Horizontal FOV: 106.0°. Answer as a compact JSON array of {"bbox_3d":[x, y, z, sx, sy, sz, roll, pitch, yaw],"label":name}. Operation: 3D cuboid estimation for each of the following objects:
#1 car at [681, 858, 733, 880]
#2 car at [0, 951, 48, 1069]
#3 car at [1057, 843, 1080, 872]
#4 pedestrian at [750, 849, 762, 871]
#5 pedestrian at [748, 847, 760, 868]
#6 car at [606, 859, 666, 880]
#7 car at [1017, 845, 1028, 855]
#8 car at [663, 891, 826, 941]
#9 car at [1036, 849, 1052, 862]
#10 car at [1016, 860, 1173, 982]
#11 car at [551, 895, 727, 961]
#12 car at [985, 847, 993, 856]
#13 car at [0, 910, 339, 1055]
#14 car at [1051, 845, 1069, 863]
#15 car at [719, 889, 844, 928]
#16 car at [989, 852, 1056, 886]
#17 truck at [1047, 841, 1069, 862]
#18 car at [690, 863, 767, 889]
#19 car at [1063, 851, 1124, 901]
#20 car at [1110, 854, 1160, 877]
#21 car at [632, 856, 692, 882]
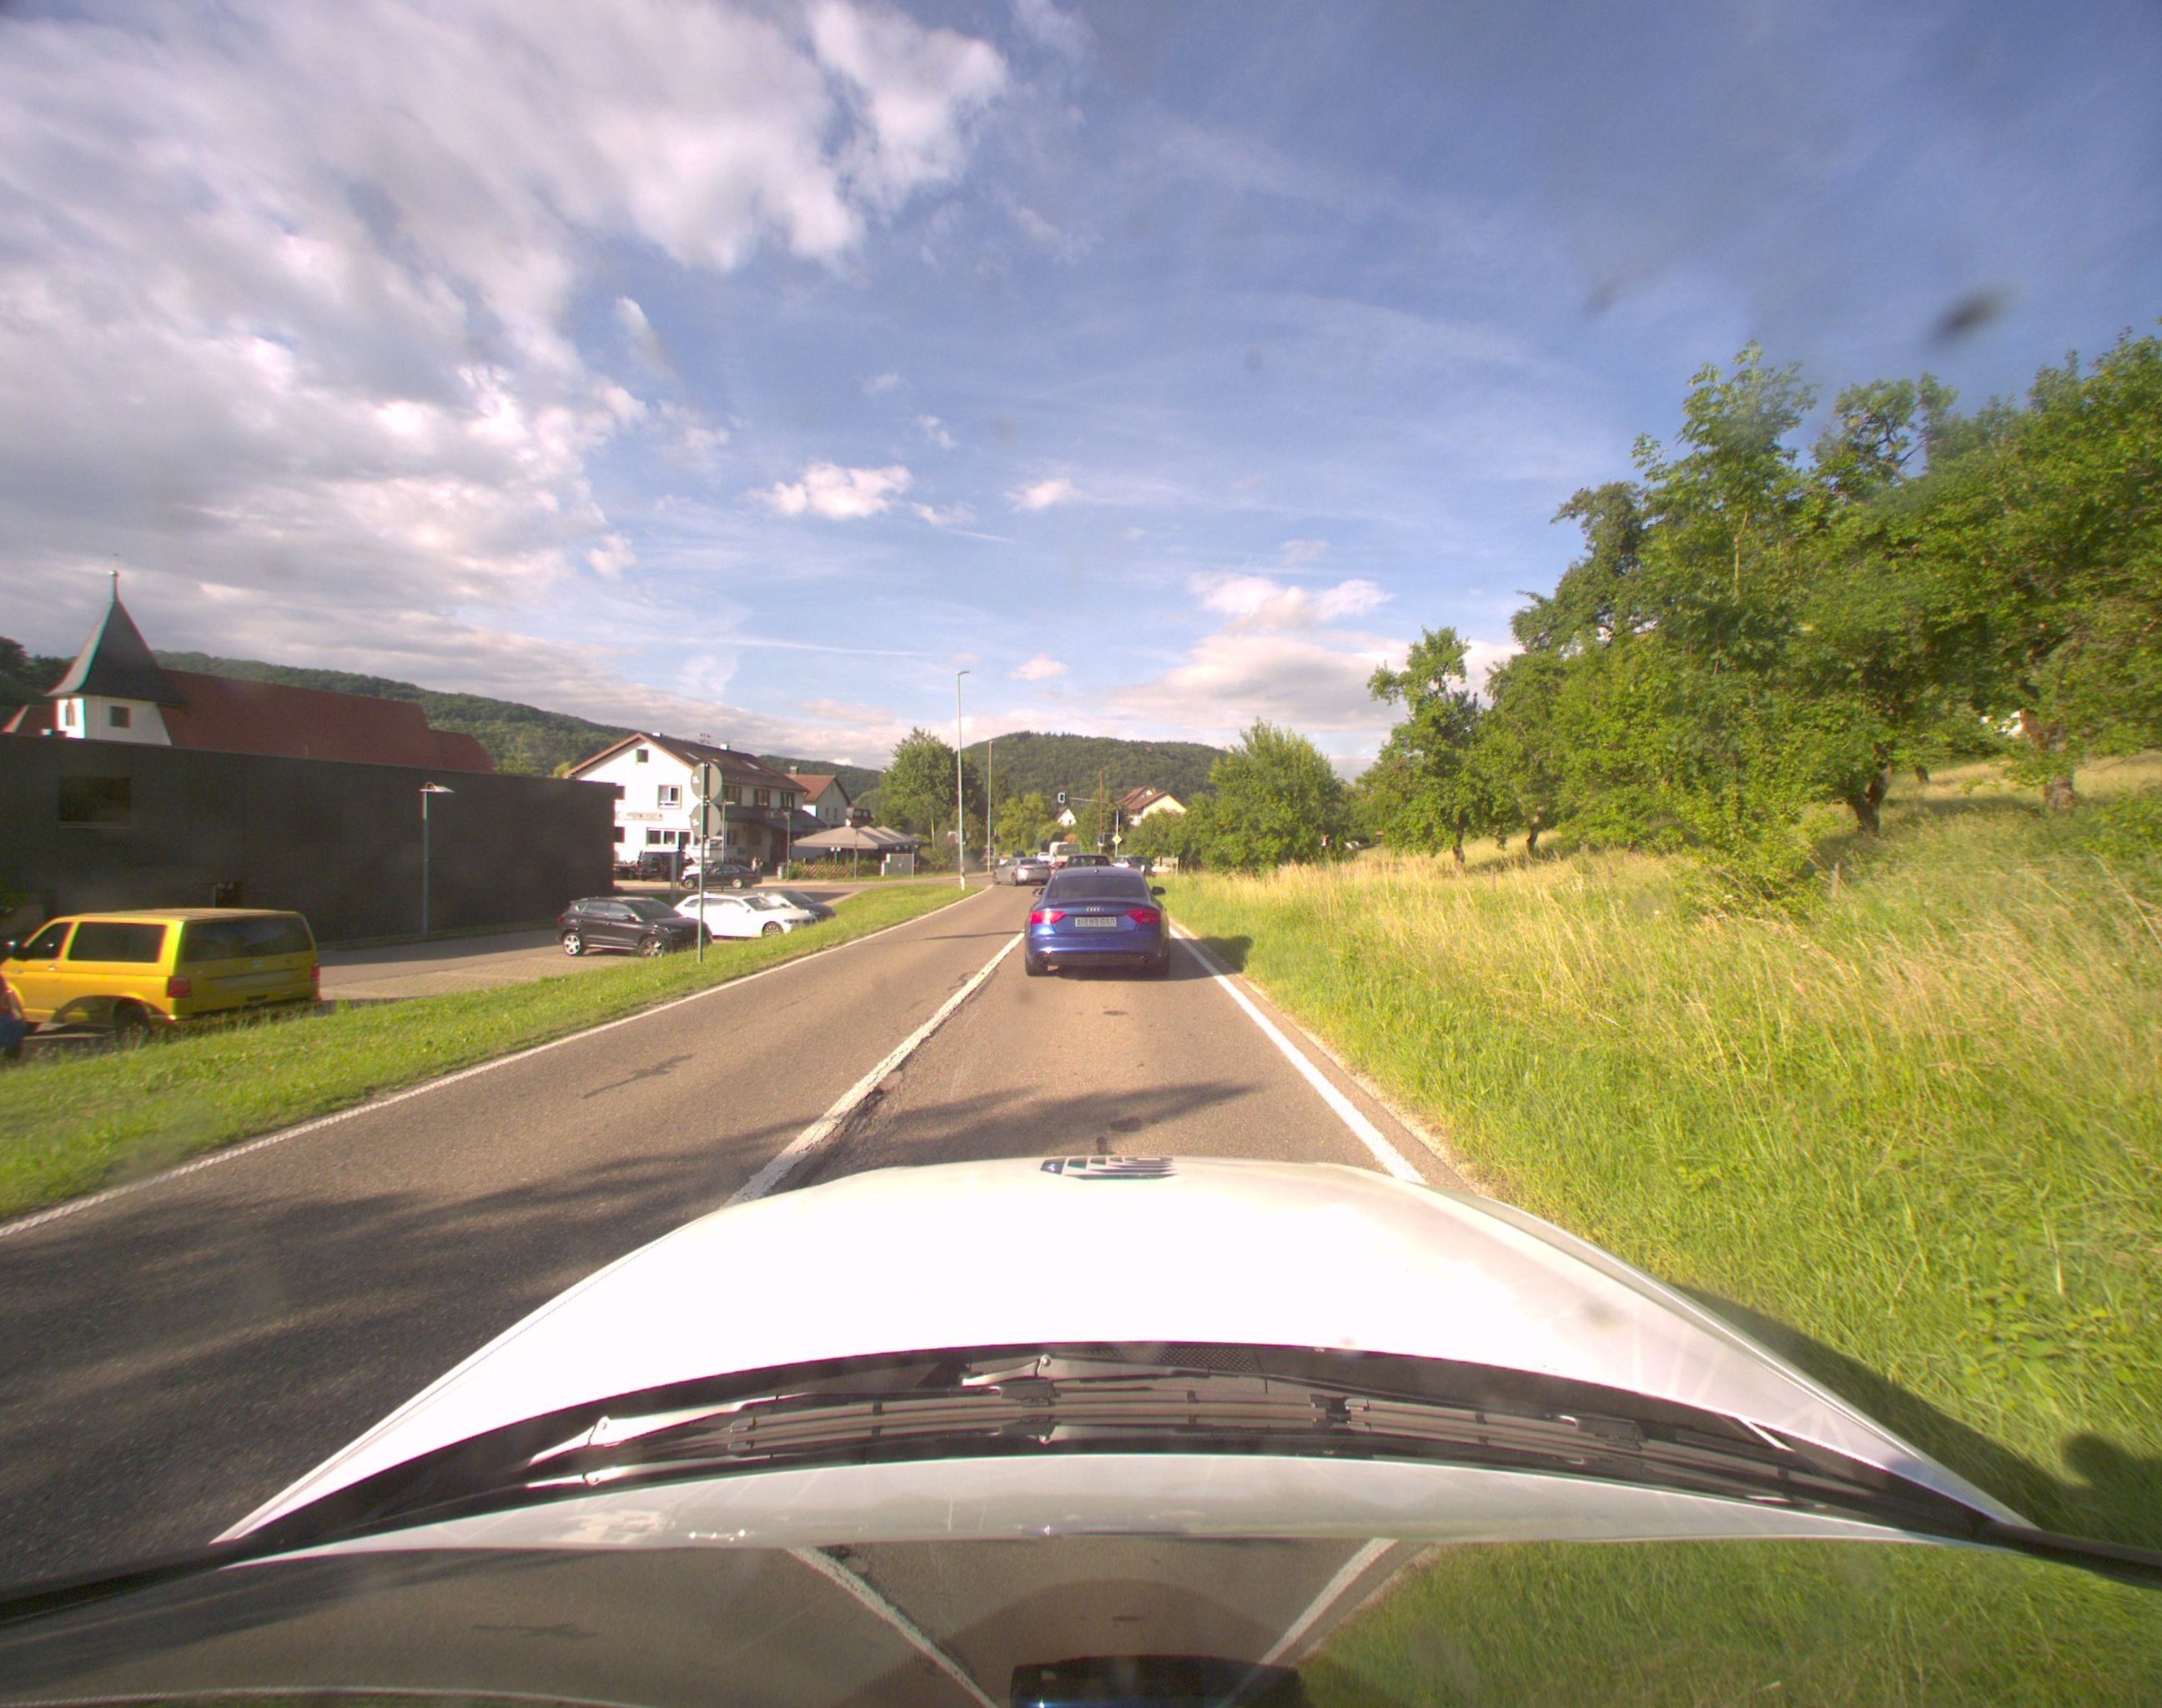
[{"bbox_3d":[-25.322,1.031,55.331,1.549,1.450,4.002,0,-1,2],"label":"car"},{"bbox_3d":[-15.893,2.075,10.582,3.470,1.472,1.638,0,-1,11],"label":"car"},{"bbox_3d":[-0.976,0.265,64.158,1.741,2.195,3.997,0,-1,-2],"label":"car"},{"bbox_3d":[-22.604,0.407,56.663,0.606,1.503,0.590,0,-1,2],"label":"pedestrian"},{"bbox_3d":[-23.097,0.233,57.485,0.606,1.503,0.590,0,-1,2],"label":"pedestrian"},{"bbox_3d":[-30.433,1.058,55.815,1.834,1.354,4.001,0,-1,1],"label":"car"},{"bbox_3d":[-9.138,-0.677,127.348,1.695,1.490,3.520,0,-1,-5],"label":"car"},{"bbox_3d":[-11.177,2.014,27.144,4.779,1.493,1.888,0,-1,14],"label":"car"},{"bbox_3d":[-4.526,0.218,99.319,1.696,1.490,3.518,0,-1,-7],"label":"car"},{"bbox_3d":[0.369,0.806,11.387,1.786,1.388,4.007,-1,-1,6],"label":"car"},{"bbox_3d":[-12.381,2.015,22.901,3.996,1.637,2.007,0,-1,14],"label":"car"},{"bbox_3d":[-17.835,-0.502,157.896,1.625,1.576,3.669,0,-1,-8],"label":"car"},{"bbox_3d":[-14.681,1.919,13.071,4.574,1.868,2.009,0,-1,17],"label":"car"},{"bbox_3d":[-2.006,0.008,77.366,1.741,1.639,3.997,0,-1,-2],"label":"car"},{"bbox_3d":[-11.047,1.996,30.167,3.963,1.310,1.765,0,-1,9],"label":"car"},{"bbox_3d":[-3.062,0.748,41.775,1.815,1.639,4.422,0,-1,-28],"label":"car"},{"bbox_3d":[-2.420,-0.219,82.811,1.696,1.953,5.907,0,-1,-7],"label":"truck"},{"bbox_3d":[-20.816,1.280,48.087,3.952,1.442,1.930,-1,-1,22],"label":"car"},{"bbox_3d":[0.504,0.748,28.480,1.737,1.639,4.007,0,-1,6],"label":"car"},{"bbox_3d":[3.514,0.748,52.686,1.609,1.478,3.754,-1,-1,32],"label":"car"},{"bbox_3d":[-28.112,0.984,54.790,1.880,1.662,4.002,0,-1,2],"label":"car"}]
